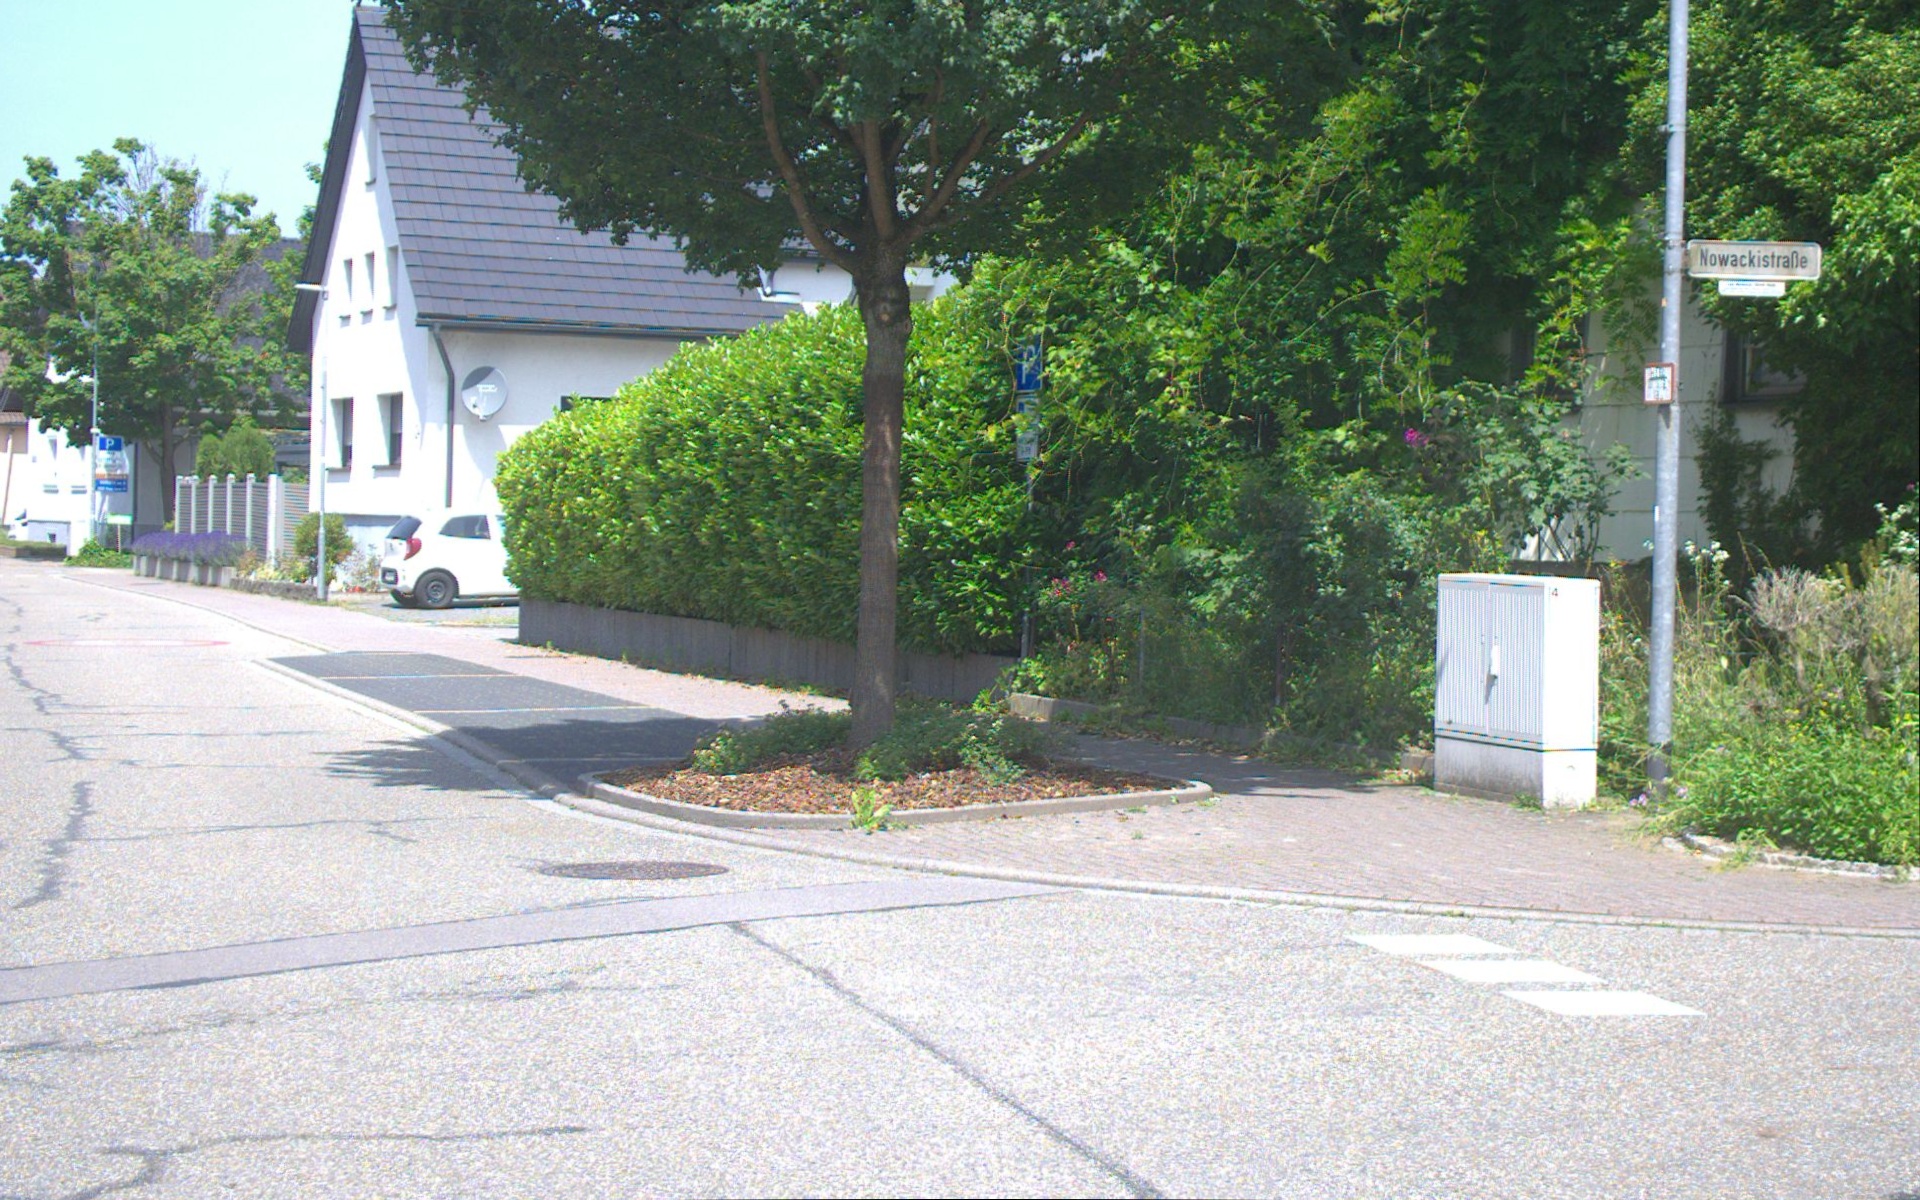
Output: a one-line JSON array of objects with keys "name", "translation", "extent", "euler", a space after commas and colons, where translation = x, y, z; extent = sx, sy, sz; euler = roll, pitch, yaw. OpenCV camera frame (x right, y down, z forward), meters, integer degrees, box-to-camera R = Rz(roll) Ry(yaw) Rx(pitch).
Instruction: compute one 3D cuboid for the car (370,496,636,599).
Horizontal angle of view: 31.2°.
[{"name": "car", "translation": [-6.962, -0.824, 52.322], "extent": [3.656, 1.469, 1.766], "euler": [-1, 3, -24]}]
